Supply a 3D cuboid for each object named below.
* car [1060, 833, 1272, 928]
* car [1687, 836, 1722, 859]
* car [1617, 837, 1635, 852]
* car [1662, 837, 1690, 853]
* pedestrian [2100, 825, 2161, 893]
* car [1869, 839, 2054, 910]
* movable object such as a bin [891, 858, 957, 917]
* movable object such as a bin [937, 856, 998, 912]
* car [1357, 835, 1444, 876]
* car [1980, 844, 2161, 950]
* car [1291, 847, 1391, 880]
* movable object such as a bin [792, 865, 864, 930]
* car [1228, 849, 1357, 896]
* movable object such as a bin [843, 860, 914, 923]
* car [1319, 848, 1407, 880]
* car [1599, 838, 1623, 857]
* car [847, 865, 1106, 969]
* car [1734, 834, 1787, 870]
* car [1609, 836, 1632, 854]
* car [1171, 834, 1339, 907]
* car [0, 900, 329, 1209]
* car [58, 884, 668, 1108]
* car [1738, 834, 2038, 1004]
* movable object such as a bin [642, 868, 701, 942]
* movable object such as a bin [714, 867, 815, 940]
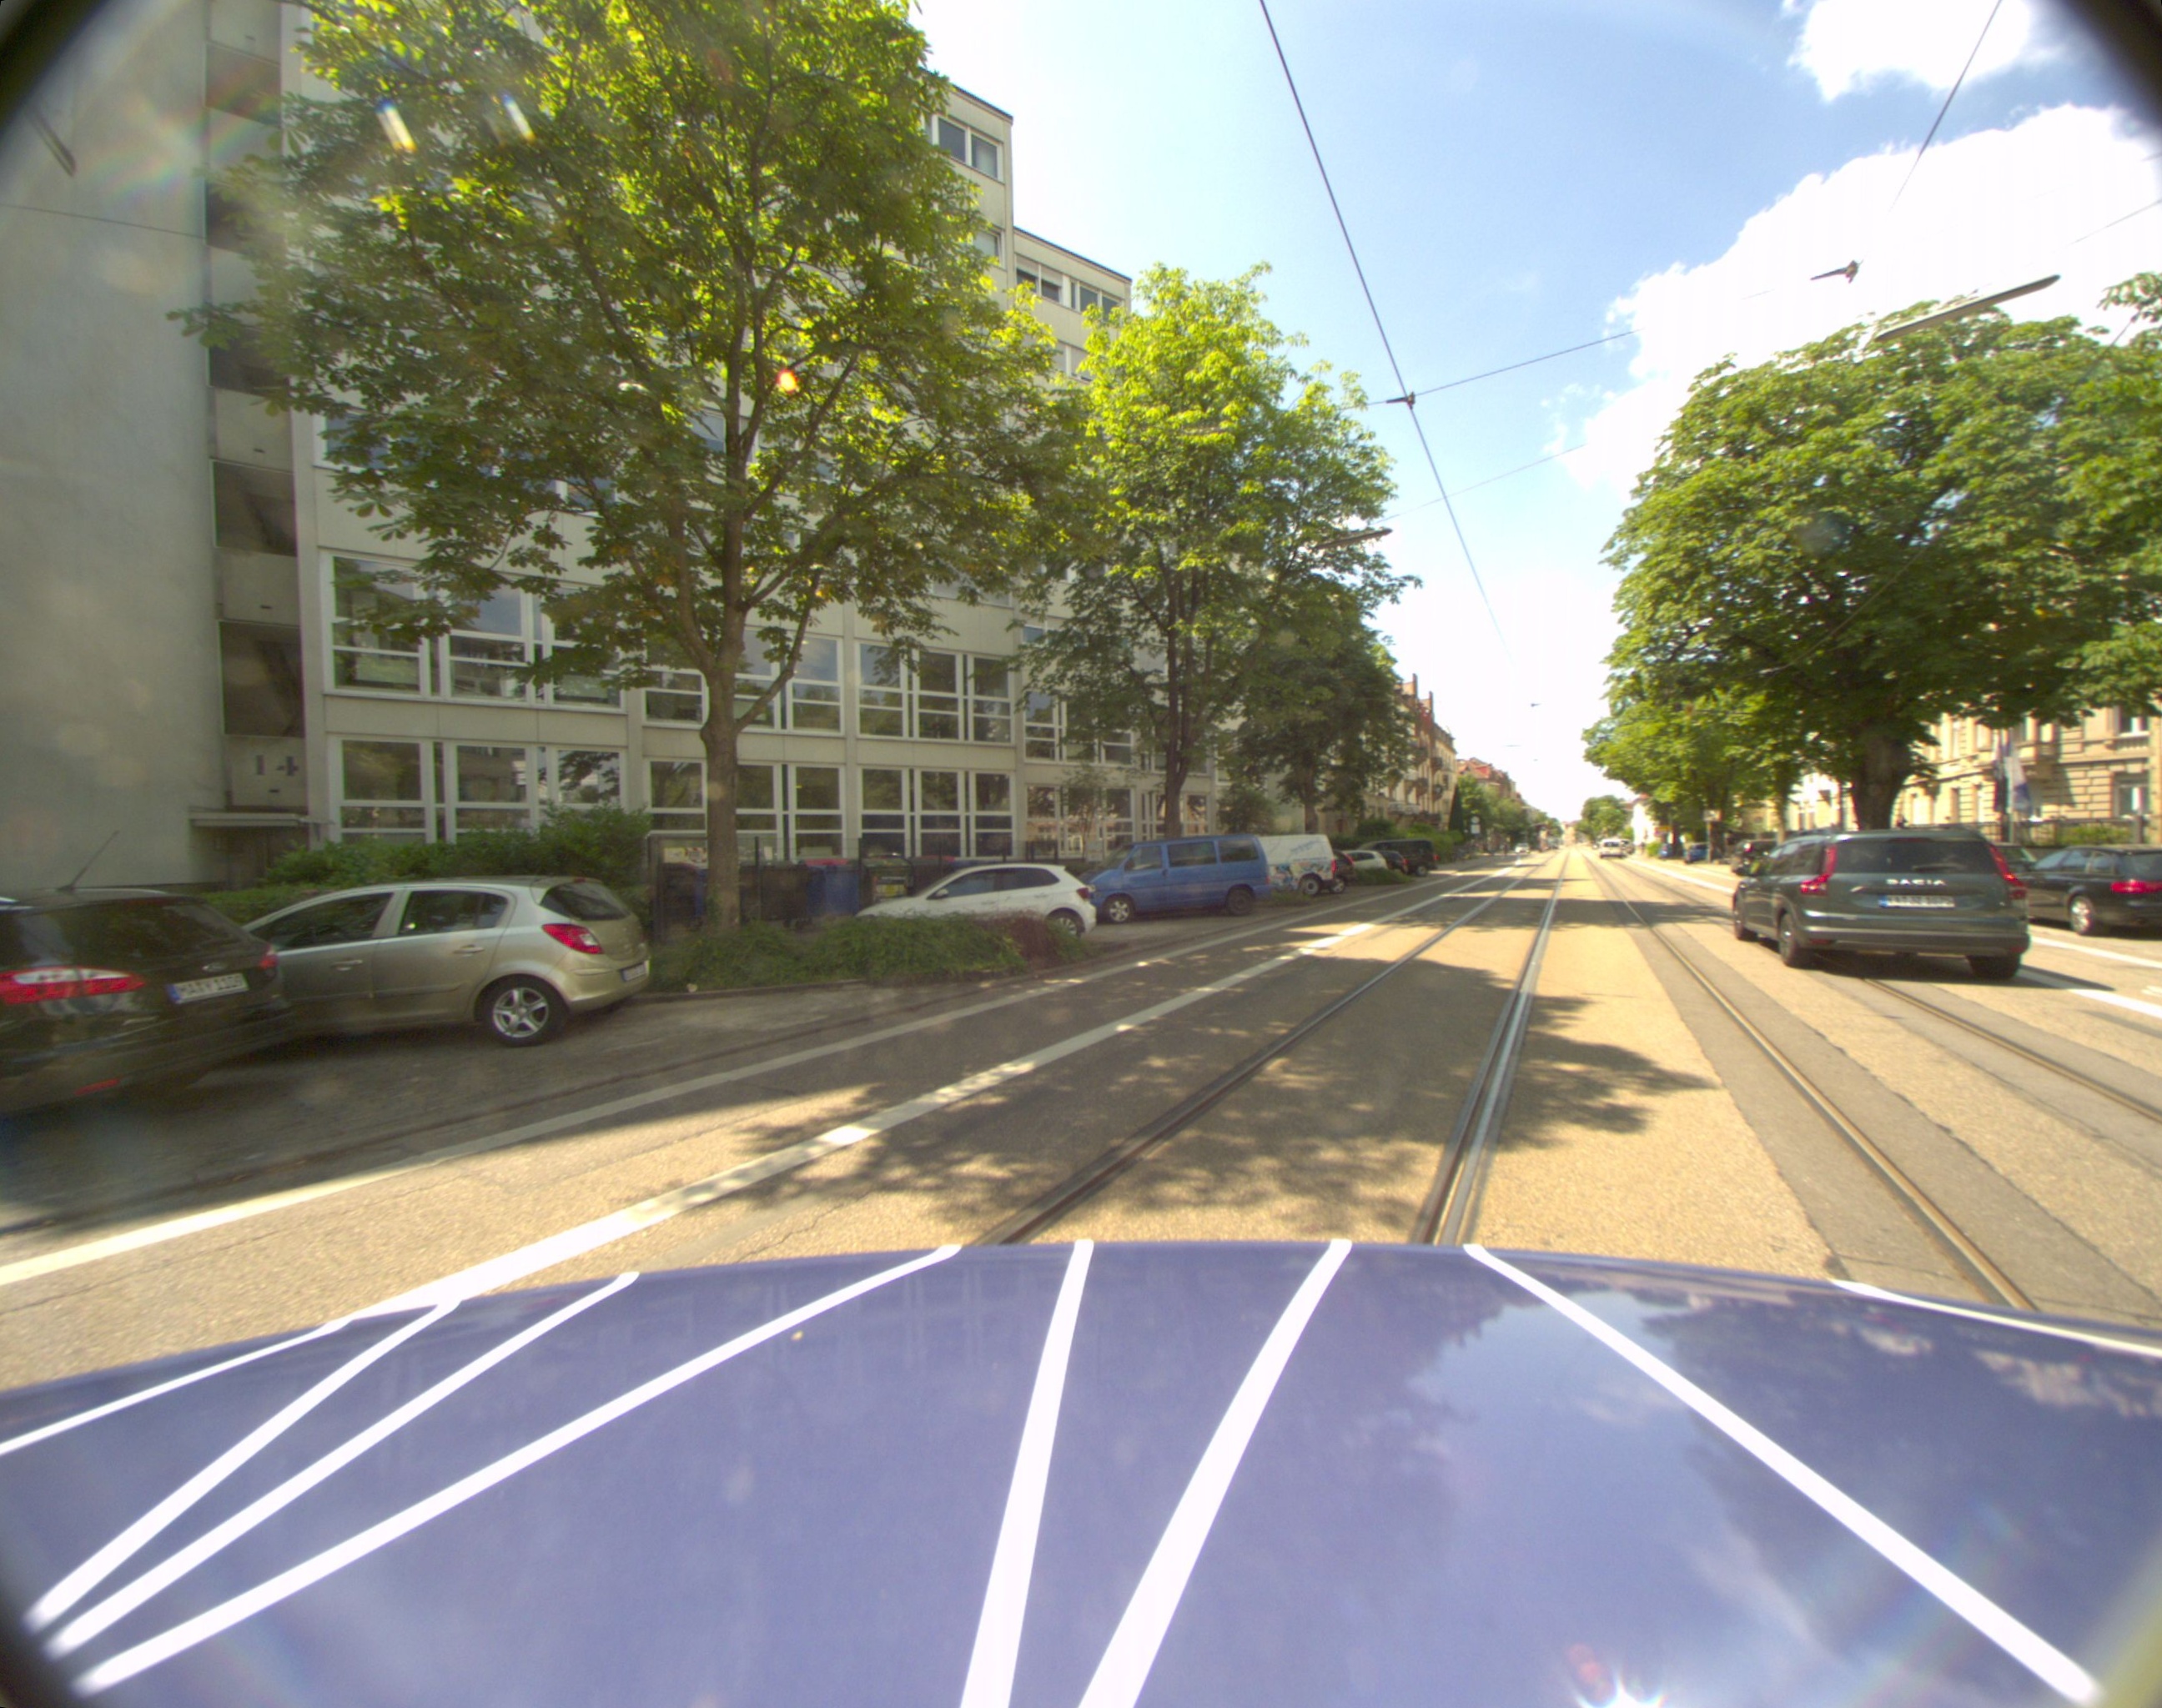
[{"bbox_3d":[1.973,0.566,18.254,4.632,2.002,1.998,-2,1,-13],"label":"car"},{"bbox_3d":[43.085,-0.492,52.549,1.807,1.470,4.008,-2,0,39],"label":"car"},{"bbox_3d":[69.033,-1.216,96.302,1.759,1.709,4.008,-1,1,34],"label":"car"},{"bbox_3d":[57.535,-0.848,73.527,1.833,1.477,4.008,-1,0,34],"label":"car"},{"bbox_3d":[24.706,0.110,17.845,0.695,1.558,0.745,-1,1,31],"label":"pedestrian"},{"bbox_3d":[20.400,0.427,17.824,1.947,1.435,3.780,-2,0,35],"label":"car"},{"bbox_3d":[-3.955,0.827,19.146,1.035,1.390,1.184,-2,1,41],"label":"movable object such as a bin"},{"bbox_3d":[-3.046,0.790,20.383,1.035,1.390,1.184,-2,1,41],"label":"movable object such as a bin"},{"bbox_3d":[16.799,0.088,40.197,3.992,2.002,2.002,-1,1,16],"label":"car"},{"bbox_3d":[16.886,0.607,12.379,1.879,1.410,4.159,-2,0,35],"label":"car"},{"bbox_3d":[11.900,0.430,34.815,4.002,1.379,1.748,1,2,-14],"label":"car"},{"bbox_3d":[-5.535,0.925,16.650,0.968,1.323,1.079,-2,1,34],"label":"movable object such as a bin"},{"bbox_3d":[7.274,0.622,26.358,3.997,1.477,1.670,-2,1,-2],"label":"car"},{"bbox_3d":[-4.793,0.861,17.998,1.035,1.390,1.184,-2,1,41],"label":"movable object such as a bin"},{"bbox_3d":[14.049,0.486,38.105,3.992,1.499,1.951,-1,0,16],"label":"car"},{"bbox_3d":[49.321,-0.625,70.754,1.674,1.709,4.008,-1,1,34],"label":"car"},{"bbox_3d":[-1.745,0.963,12.687,3.983,1.405,1.713,-2,1,-14],"label":"car"},{"bbox_3d":[32.620,-0.129,36.550,1.725,1.605,4.008,-2,0,39],"label":"car"},{"bbox_3d":[54.871,-0.956,77.306,1.759,1.709,4.008,-1,1,34],"label":"car"},{"bbox_3d":[5.280,0.480,23.438,4.629,2.002,1.999,-2,1,-5],"label":"car"},{"bbox_3d":[-7.458,1.131,4.301,4.199,1.461,1.752,-2,1,-14],"label":"car"},{"bbox_3d":[-5.961,1.098,6.852,3.541,1.454,1.752,-2,1,-14],"label":"car"},{"bbox_3d":[9.570,0.605,9.406,1.602,1.642,4.008,0,1,33],"label":"car"},{"bbox_3d":[-8.108,0.987,15.060,0.805,1.397,0.765,-3,1,-43],"label":"movable object such as a bin"},{"bbox_3d":[-6.347,0.959,15.296,1.123,1.323,1.455,-2,1,34],"label":"movable object such as a bin"}]
